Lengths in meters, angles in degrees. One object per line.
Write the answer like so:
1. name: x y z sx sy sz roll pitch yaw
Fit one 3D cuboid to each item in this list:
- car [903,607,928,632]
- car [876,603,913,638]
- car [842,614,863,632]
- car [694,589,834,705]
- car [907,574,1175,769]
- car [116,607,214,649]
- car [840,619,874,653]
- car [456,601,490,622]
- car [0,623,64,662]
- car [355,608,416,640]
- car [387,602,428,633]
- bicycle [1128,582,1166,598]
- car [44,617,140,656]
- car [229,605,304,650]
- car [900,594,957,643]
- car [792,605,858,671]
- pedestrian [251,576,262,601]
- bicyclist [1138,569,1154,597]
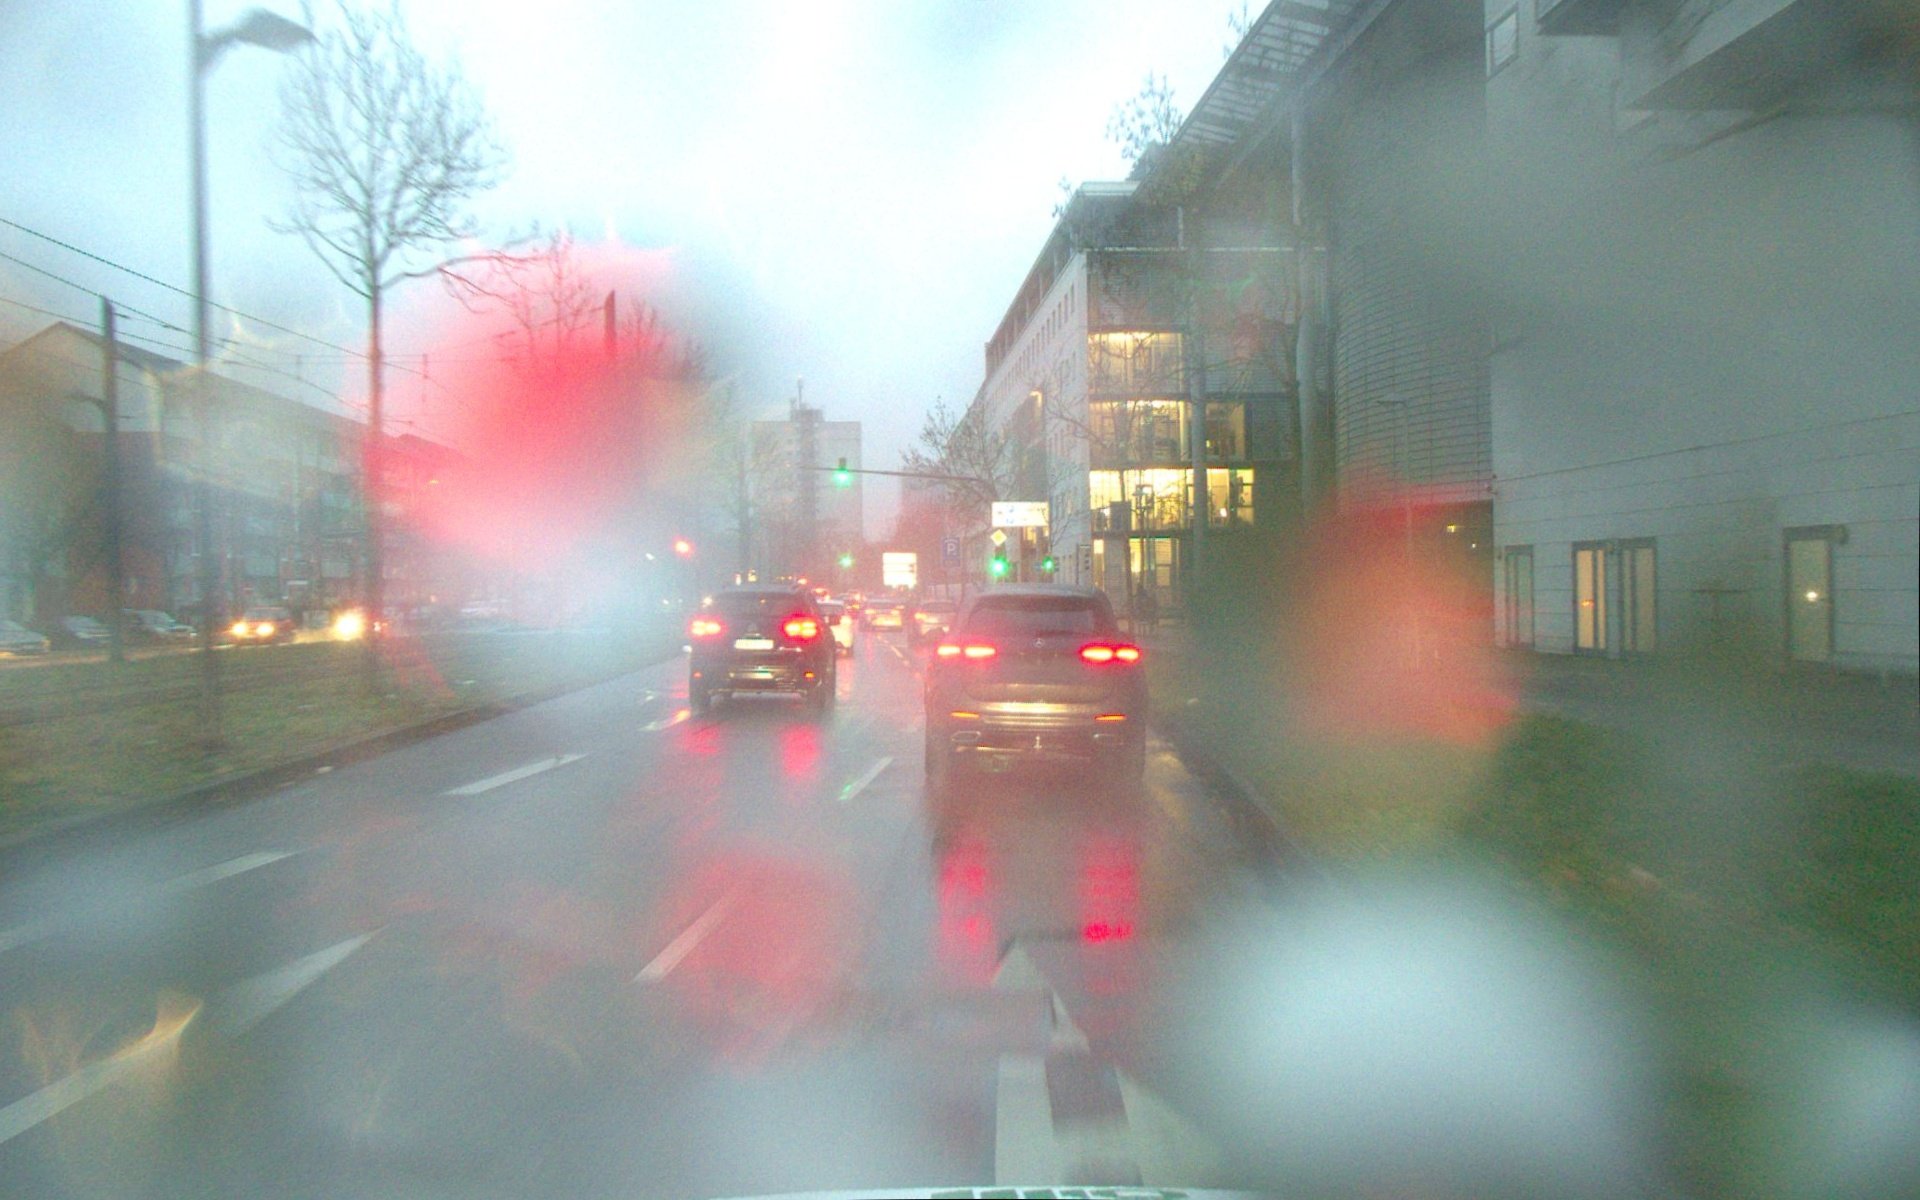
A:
1. car: -2.955 1.282 109.614 1.582 1.599 3.350 1 0 -1
2. car: -2.997 0.905 75.164 1.591 1.524 3.523 1 0 -4
3. car: -7.875 1.661 121.469 1.353 1.270 2.756 1 0 -1
4. car: -2.732 0.609 23.393 1.782 1.476 3.995 1 0 -6
5. car: 0.584 0.569 14.833 1.954 1.509 3.696 1 0 -4
6. car: -31.996 1.121 66.550 3.714 1.583 1.740 1 0 29
7. car: -5.042 1.739 80.902 1.583 1.548 3.405 1 0 -4
8. car: -38.402 0.916 130.476 1.895 1.625 3.721 1 0 -7
9. car: -30.986 1.346 53.285 4.094 1.135 1.679 1 0 27
10. car: -29.986 1.233 86.494 1.843 1.529 4.785 1 0 -5
11. car: -38.175 1.187 114.406 1.956 2.049 3.993 1 0 -8
12. bicycle: 9.042 -0.493 80.059 1.696 0.758 0.650 1 0 30
13. car: -31.843 1.331 60.665 3.687 1.360 1.450 0 0 32
14. car: -26.674 1.043 63.717 1.582 1.651 3.506 1 0 -4
15. car: -1.067 0.598 55.822 1.829 1.570 3.609 1 0 -1
16. car: -3.603 0.982 44.346 1.656 1.664 3.470 1 0 -4
17. pedestrian: -34.789 -0.580 81.770 0.344 1.205 0.427 1 -1 -45
18. bicyclist: 8.997 -0.817 80.103 0.610 1.353 0.565 1 0 29
